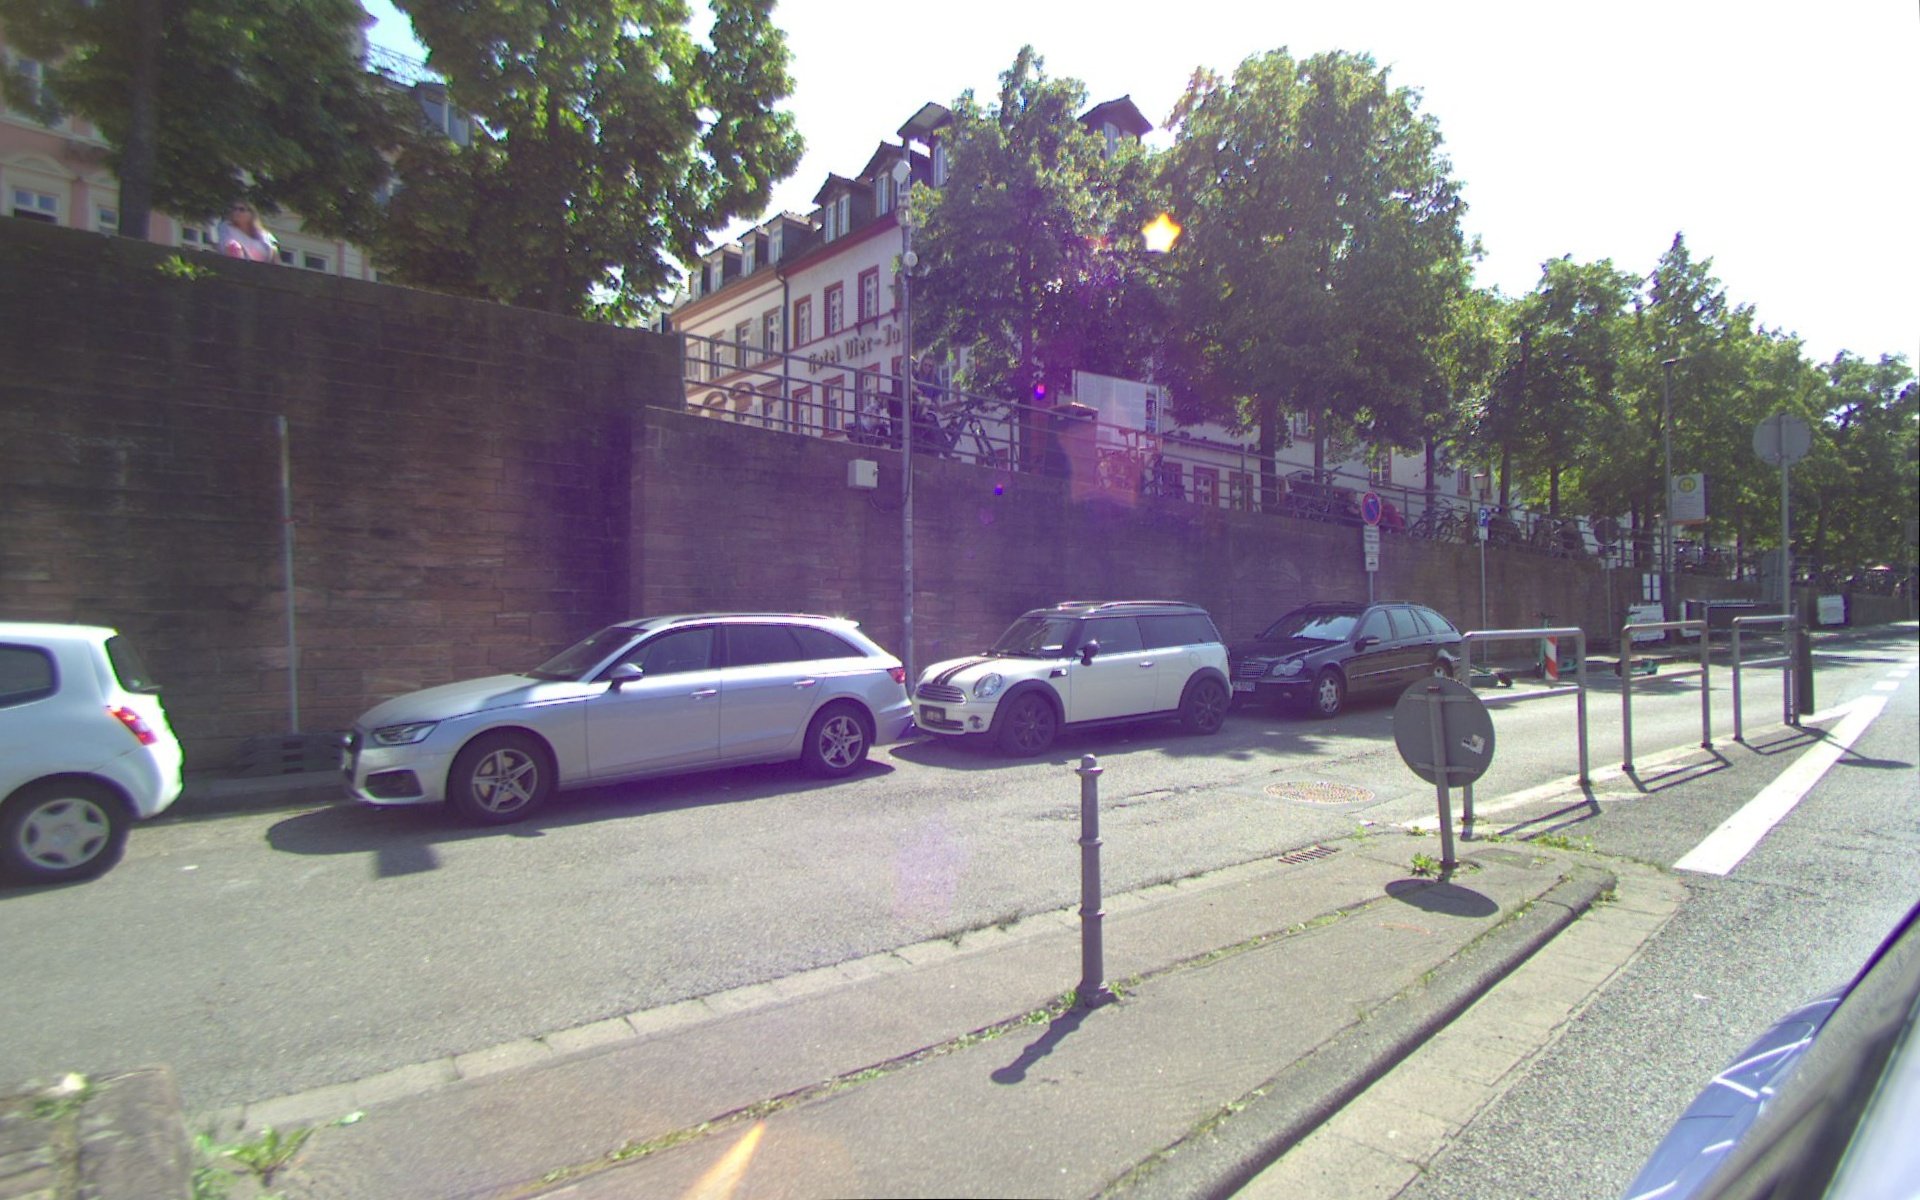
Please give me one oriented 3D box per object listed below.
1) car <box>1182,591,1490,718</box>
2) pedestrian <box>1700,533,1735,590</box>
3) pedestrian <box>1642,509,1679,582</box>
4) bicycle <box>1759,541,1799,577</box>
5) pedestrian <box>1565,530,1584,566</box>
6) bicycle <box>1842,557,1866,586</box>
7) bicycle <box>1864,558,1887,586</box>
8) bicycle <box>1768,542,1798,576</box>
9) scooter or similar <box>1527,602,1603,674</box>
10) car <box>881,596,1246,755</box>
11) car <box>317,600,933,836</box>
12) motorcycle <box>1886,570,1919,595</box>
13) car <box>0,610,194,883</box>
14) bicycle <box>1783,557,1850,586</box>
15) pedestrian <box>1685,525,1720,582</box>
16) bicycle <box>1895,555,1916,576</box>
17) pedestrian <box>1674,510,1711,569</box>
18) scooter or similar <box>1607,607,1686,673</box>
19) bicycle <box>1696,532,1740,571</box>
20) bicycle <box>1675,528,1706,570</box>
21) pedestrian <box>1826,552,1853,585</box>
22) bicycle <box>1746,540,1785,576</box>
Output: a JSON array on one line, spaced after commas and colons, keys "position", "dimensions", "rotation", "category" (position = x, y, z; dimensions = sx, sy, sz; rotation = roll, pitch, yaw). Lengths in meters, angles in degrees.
[{"position": [5.303, 0.641, 14.046], "dimensions": [4.450, 1.468, 1.848], "rotation": [-1, 0, -36], "category": "car"}, {"position": [23.588, -1.194, 31.512], "dimensions": [0.562, 1.742, 0.720], "rotation": [0, 0, -36], "category": "pedestrian"}, {"position": [21.675, -1.679, 31.310], "dimensions": [0.698, 2.217, 0.720], "rotation": [0, 0, -36], "category": "pedestrian"}, {"position": [26.716, -1.327, 32.999], "dimensions": [1.886, 1.120, 0.411], "rotation": [0, 0, -32], "category": "bicycle"}, {"position": [27.297, -2.292, 44.933], "dimensions": [0.597, 1.565, 0.469], "rotation": [0, -2, -37], "category": "pedestrian"}, {"position": [33.012, -1.040, 37.370], "dimensions": [1.825, 1.017, 0.299], "rotation": [1, -1, -37], "category": "bicycle"}, {"position": [34.808, -1.058, 38.464], "dimensions": [1.905, 1.017, 0.299], "rotation": [1, -1, -37], "category": "bicycle"}, {"position": [29.763, -1.480, 36.594], "dimensions": [1.898, 1.155, 0.383], "rotation": [1, -1, -37], "category": "bicycle"}, {"position": [10.936, 0.674, 18.291], "dimensions": [1.245, 1.246, 0.534], "rotation": [-1, 0, -22], "category": "scooter or similar"}, {"position": [1.206, 0.700, 11.110], "dimensions": [3.828, 1.431, 1.617], "rotation": [-1, 0, -34], "category": "car"}, {"position": [-2.643, 0.768, 8.618], "dimensions": [4.668, 1.451, 1.758], "rotation": [-1, 0, -37], "category": "car"}, {"position": [43.317, -0.795, 45.872], "dimensions": [0.565, 1.112, 1.917], "rotation": [-1, 1, -43], "category": "motorcycle"}, {"position": [-6.480, 0.830, 5.653], "dimensions": [3.483, 1.476, 1.714], "rotation": [-1, 0, -38], "category": "car"}, {"position": [31.411, -1.029, 37.133], "dimensions": [0.293, 1.017, 1.858], "rotation": [1, -1, -38], "category": "bicycle"}, {"position": [22.976, -1.427, 31.312], "dimensions": [0.562, 1.742, 0.720], "rotation": [0, 0, -36], "category": "pedestrian"}, {"position": [38.414, -1.403, 41.113], "dimensions": [1.884, 0.794, 0.350], "rotation": [0, 0, -39], "category": "bicycle"}, {"position": [22.448, -1.840, 31.007], "dimensions": [0.698, 1.742, 0.720], "rotation": [0, 0, -36], "category": "pedestrian"}, {"position": [12.160, 0.694, 17.926], "dimensions": [1.409, 1.103, 0.534], "rotation": [-1, 0, -27], "category": "scooter or similar"}, {"position": [22.137, -1.402, 29.545], "dimensions": [1.700, 1.120, 0.411], "rotation": [0, 0, -32], "category": "bicycle"}, {"position": [20.536, -1.420, 28.450], "dimensions": [1.706, 1.120, 0.410], "rotation": [-1, 0, -44], "category": "bicycle"}, {"position": [34.599, -1.237, 39.807], "dimensions": [0.658, 1.281, 0.696], "rotation": [0, 0, -40], "category": "pedestrian"}, {"position": [25.429, -1.314, 31.946], "dimensions": [1.700, 1.120, 0.411], "rotation": [0, 0, -32], "category": "bicycle"}]
